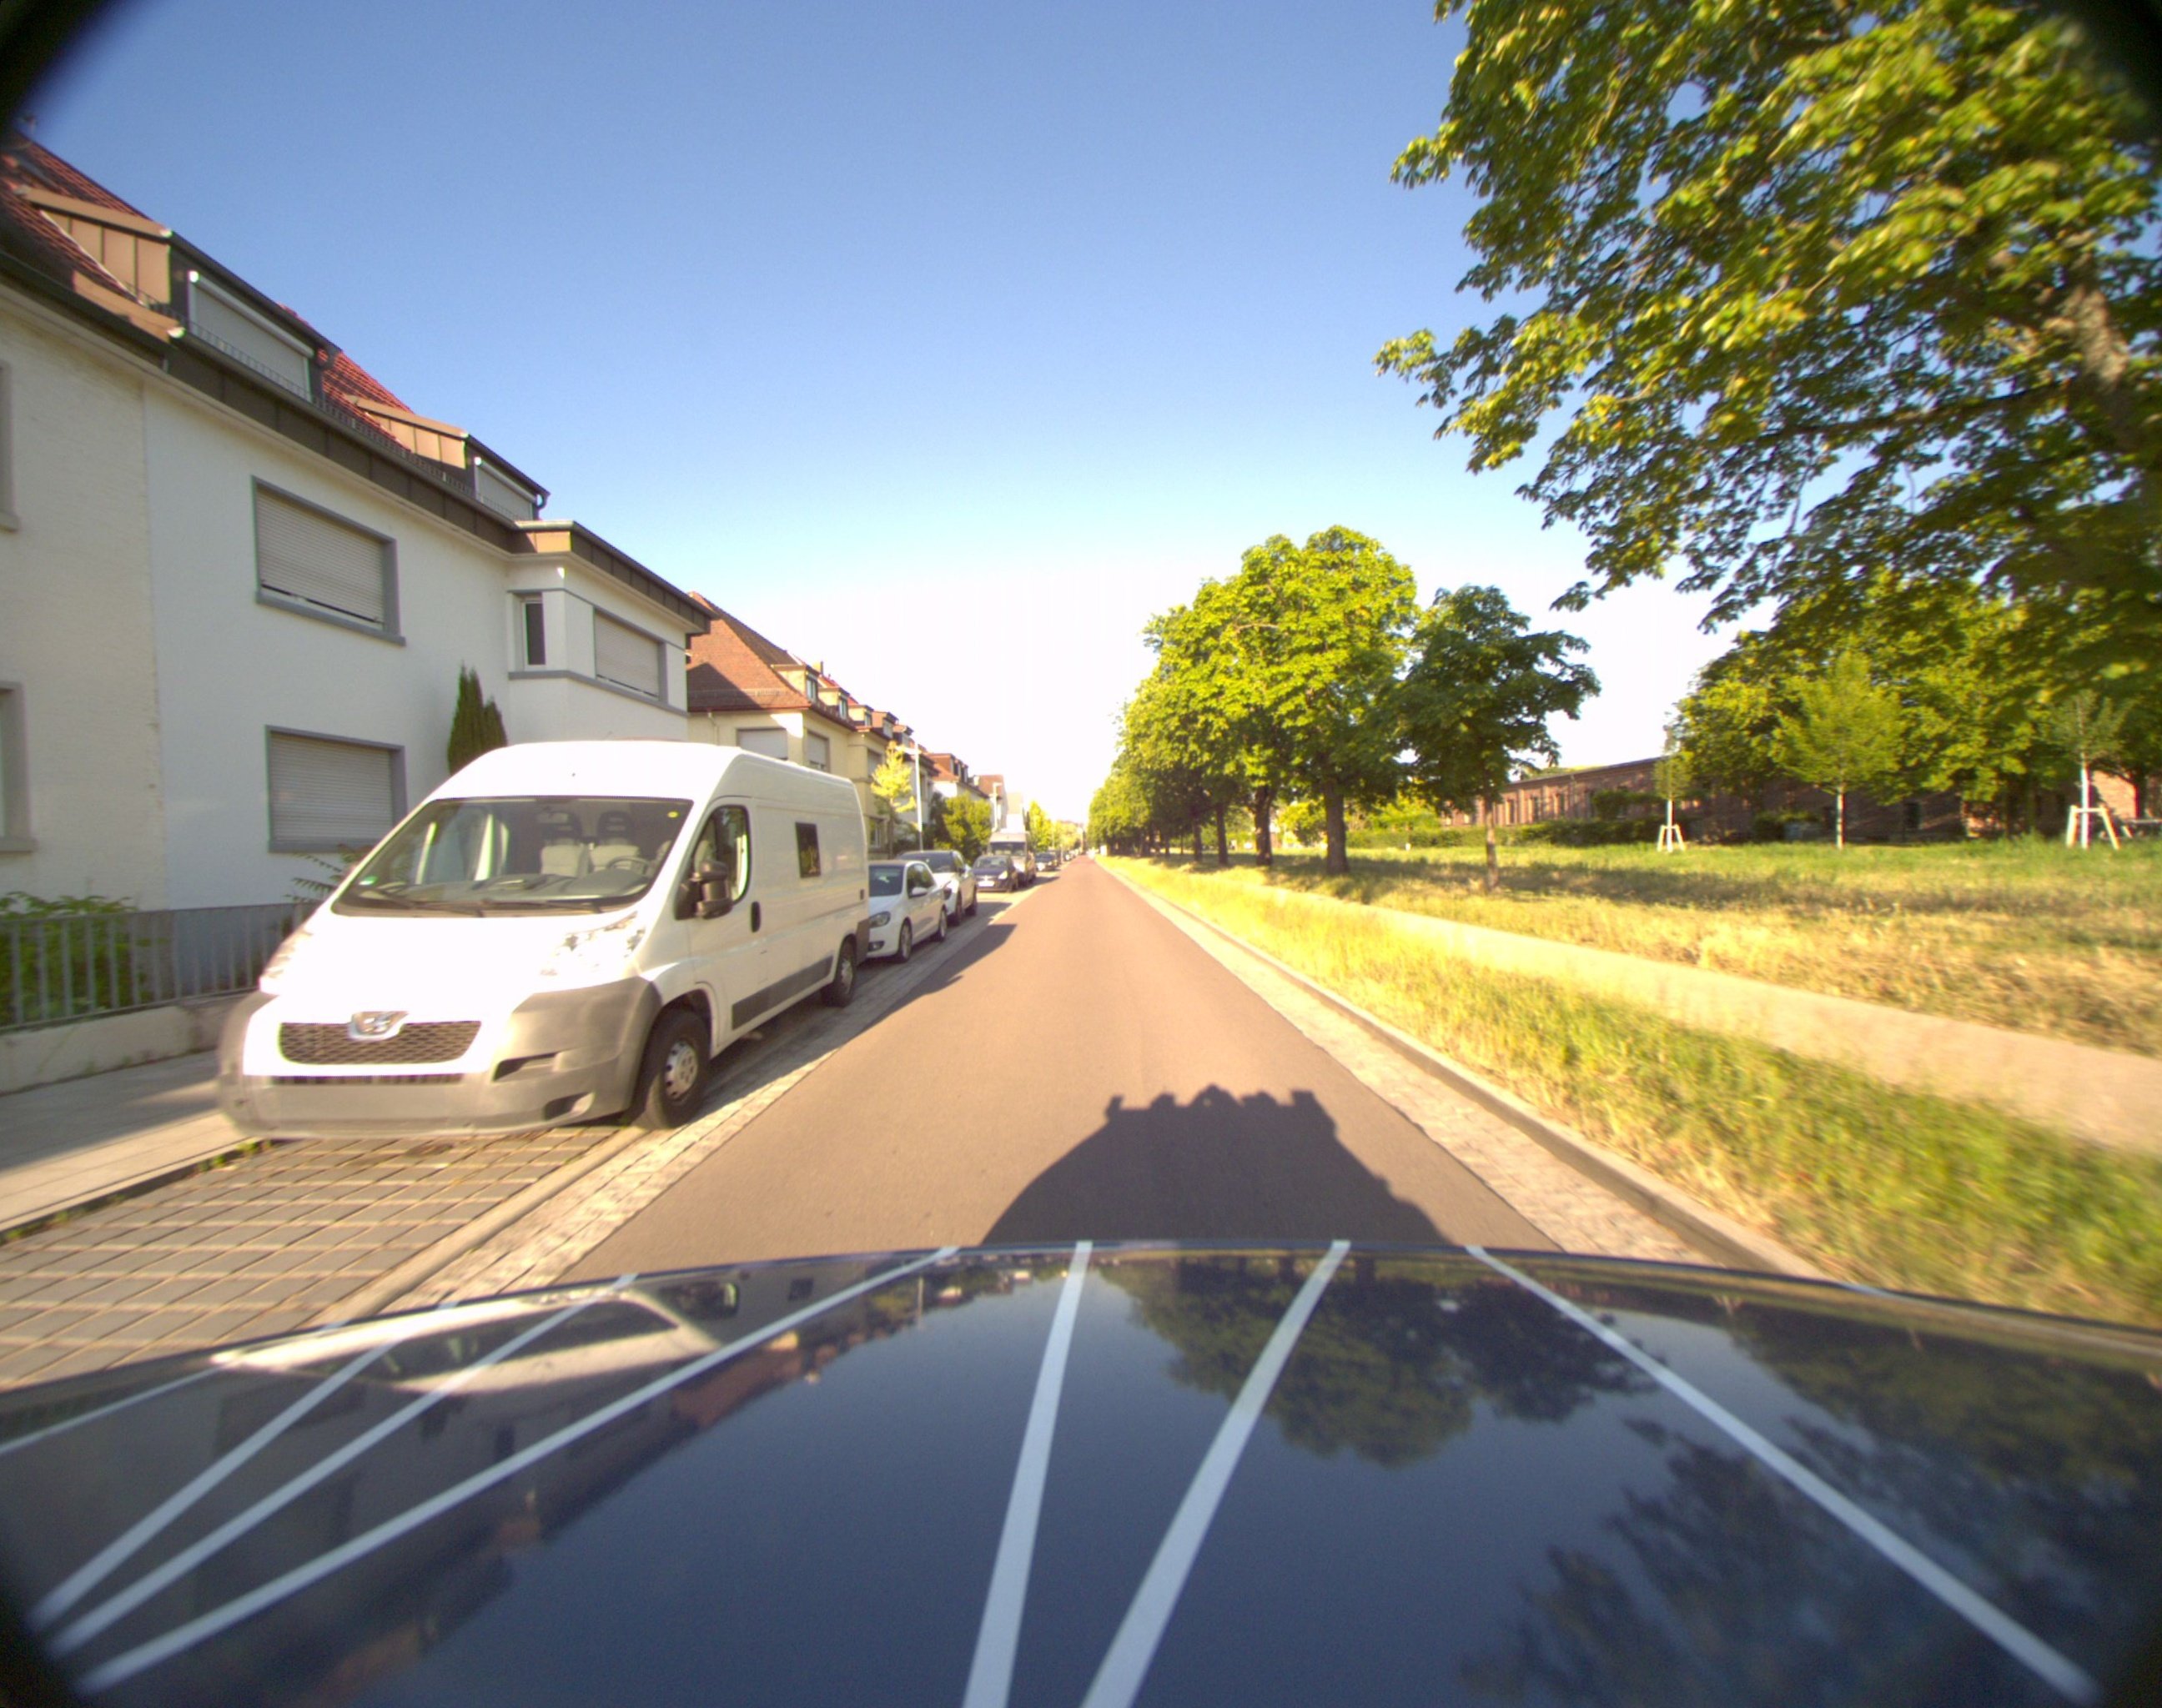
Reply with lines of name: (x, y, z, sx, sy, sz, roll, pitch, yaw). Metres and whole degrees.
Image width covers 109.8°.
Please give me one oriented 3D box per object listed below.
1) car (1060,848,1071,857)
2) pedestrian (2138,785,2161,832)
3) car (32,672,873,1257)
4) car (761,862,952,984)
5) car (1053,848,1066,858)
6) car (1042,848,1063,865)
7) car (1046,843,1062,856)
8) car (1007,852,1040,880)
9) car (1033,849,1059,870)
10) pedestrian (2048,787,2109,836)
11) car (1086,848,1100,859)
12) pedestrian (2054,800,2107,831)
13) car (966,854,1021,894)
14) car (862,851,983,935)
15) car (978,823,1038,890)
car: (-2.845, -0.248, 140.398, 1.974, 1.630, 3.999, -3, 1, 1)
pedestrian: (43.472, -1.825, 30.322, 1.115, 1.852, 0.984, -3, 1, 7)
car: (-3.452, 0.450, 6.049, 2.135, 2.504, 5.507, -1, 1, -1)
car: (-3.261, 0.919, 11.905, 1.626, 1.474, 4.108, -2, 0, 2)
car: (-3.532, -0.179, 124.407, 1.974, 1.630, 3.999, -3, 1, 1)
car: (-2.978, 0.251, 80.831, 1.974, 1.630, 4.000, -3, 1, 1)
car: (-3.636, -0.611, 103.206, 1.974, 1.630, 3.999, -3, 1, 1)
car: (-3.208, 0.646, 42.671, 1.467, 1.490, 3.356, -2, 1, 2)
car: (-2.881, 0.438, 63.102, 1.974, 1.630, 4.000, 0, 1, 1)
pedestrian: (39.988, -1.686, 30.476, 1.115, 1.853, 0.984, -3, 1, 7)
car: (1.731, -0.122, 112.205, 1.974, 1.630, 4.000, 0, 1, 1)
pedestrian: (43.772, -1.674, 33.292, 1.116, 1.287, 0.982, -3, 1, -8)
car: (-3.427, 0.747, 30.310, 1.629, 1.431, 4.004, 0, 1, 2)
car: (-3.430, 0.766, 17.337, 1.782, 1.635, 4.479, -1, 0, 0)
car: (-3.387, 0.091, 36.473, 2.134, 2.837, 5.986, -3, 1, 1)
